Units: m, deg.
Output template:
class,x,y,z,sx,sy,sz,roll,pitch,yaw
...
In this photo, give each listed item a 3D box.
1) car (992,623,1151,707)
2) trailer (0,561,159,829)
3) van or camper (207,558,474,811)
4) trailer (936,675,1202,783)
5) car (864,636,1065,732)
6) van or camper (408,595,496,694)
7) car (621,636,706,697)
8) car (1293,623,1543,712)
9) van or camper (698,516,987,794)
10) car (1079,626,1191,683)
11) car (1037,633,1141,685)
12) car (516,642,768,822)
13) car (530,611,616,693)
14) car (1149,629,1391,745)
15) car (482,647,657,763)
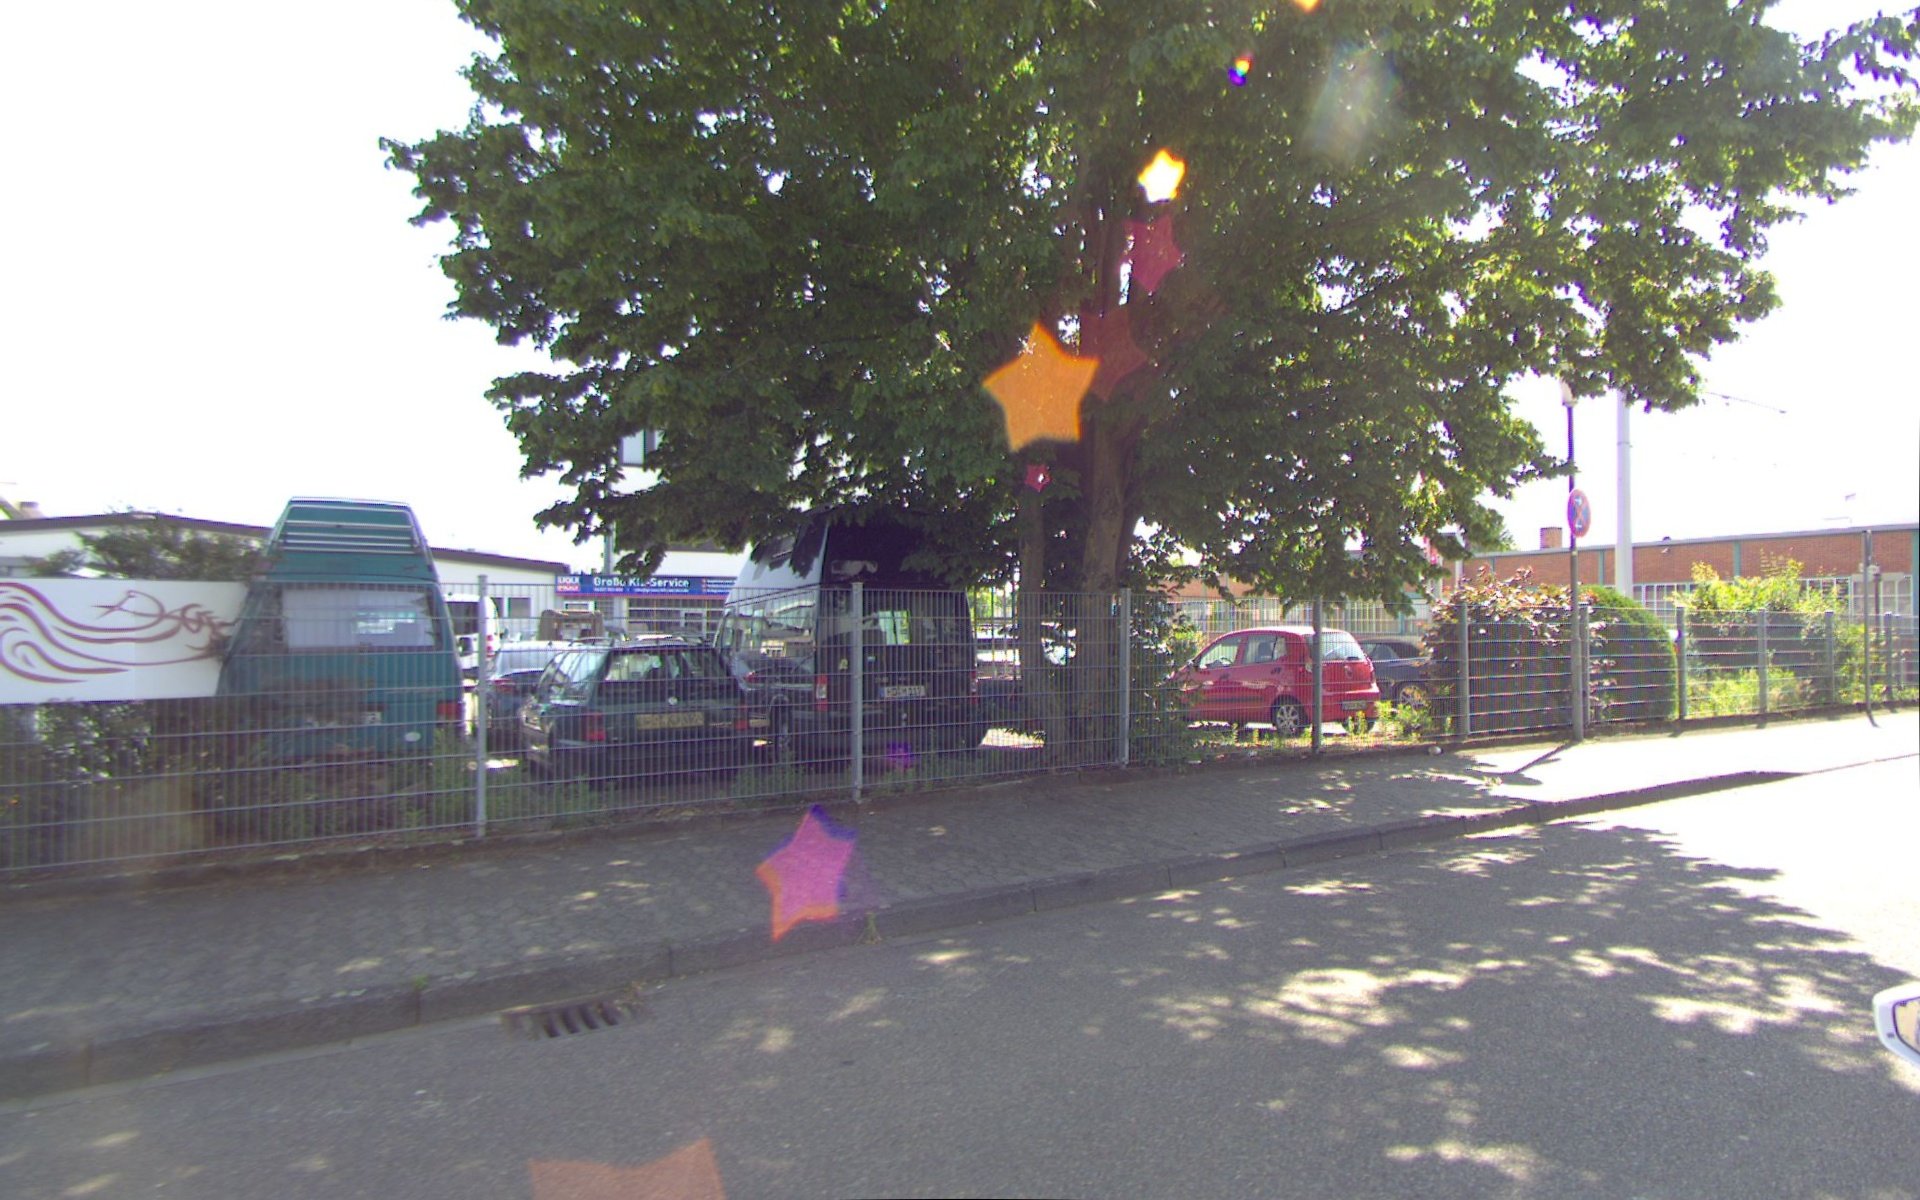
class,x,y,z,sx,sy,sz,roll,pitch,yaw
car,2.079,1.211,19.435,1.632,1.492,3.058,1,-2,-28
trailer,-9.629,0.742,9.879,1.976,2.184,4.747,2,0,-30
van or camper,-5.813,0.644,9.757,1.752,1.888,4.165,2,0,-28
trailer,1.158,1.441,11.986,1.592,0.952,3.269,1,-2,-28
car,-0.034,1.480,18.809,1.954,1.568,3.965,1,-2,-33
van or camper,-13.146,1.142,26.220,1.757,2.336,4.576,1,-2,-24
car,-8.583,1.848,28.849,1.963,1.578,4.404,0,-2,-22
car,7.992,1.139,17.854,1.745,1.384,3.751,1,-2,-28
van or camper,-1.614,0.625,11.924,1.823,2.610,4.637,1,-3,-28
car,6.084,1.879,35.339,1.973,1.873,3.976,2,-2,-24
car,4.222,1.922,33.473,1.829,1.588,3.918,0,-2,-20
car,-3.373,1.139,10.139,1.836,1.405,3.902,1,-2,-27
car,-10.574,1.396,27.466,2.028,2.040,4.558,0,-2,-22
car,4.499,1.215,15.018,1.499,1.504,3.365,1,-2,-28
car,-5.684,1.382,14.397,1.712,1.396,3.605,1,-2,-32
